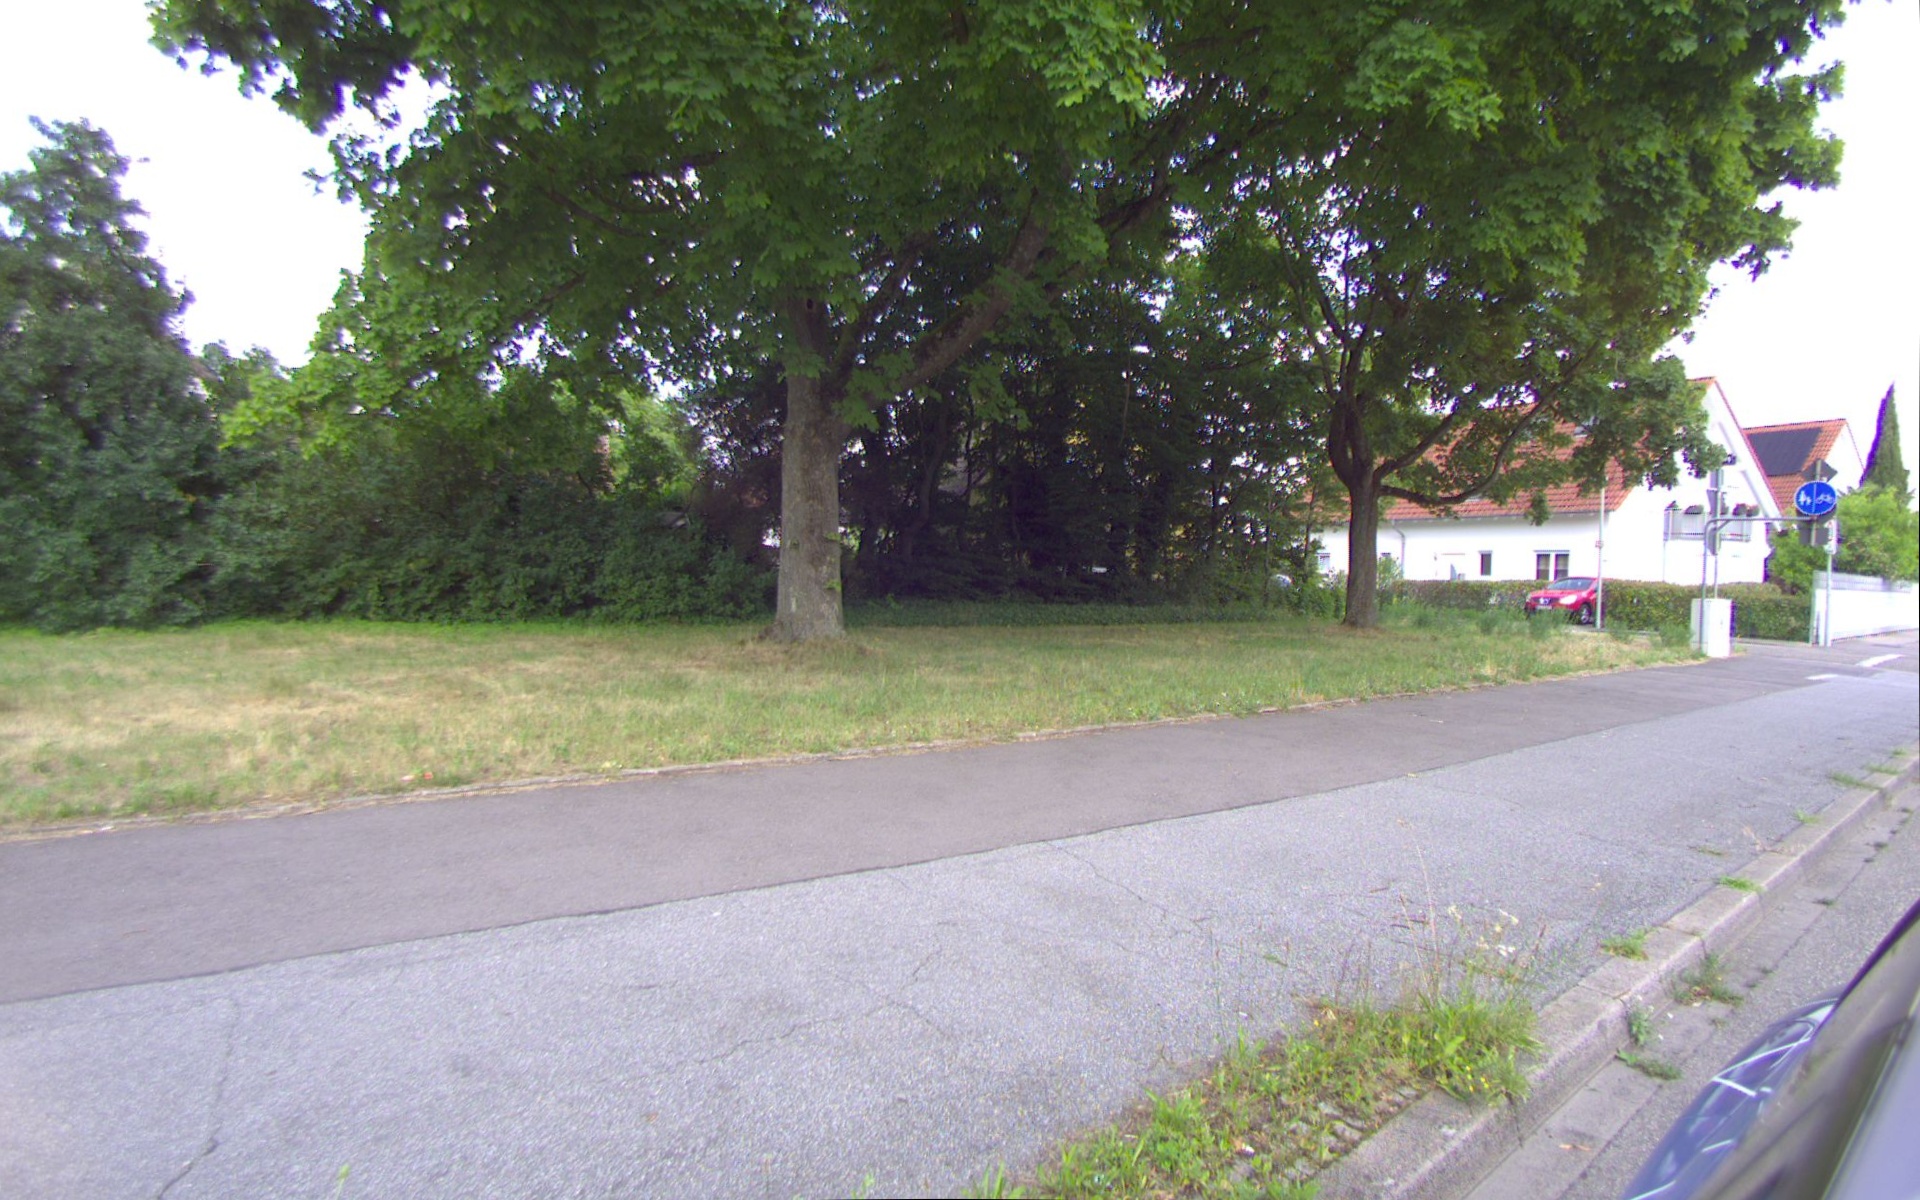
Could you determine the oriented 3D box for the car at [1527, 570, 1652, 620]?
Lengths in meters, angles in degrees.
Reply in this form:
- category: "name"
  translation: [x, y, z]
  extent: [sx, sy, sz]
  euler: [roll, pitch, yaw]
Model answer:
- category: "car"
  translation: [21.012, -0.170, 33.730]
  extent: [4.305, 1.549, 1.684]
  euler: [1, 2, -30]
